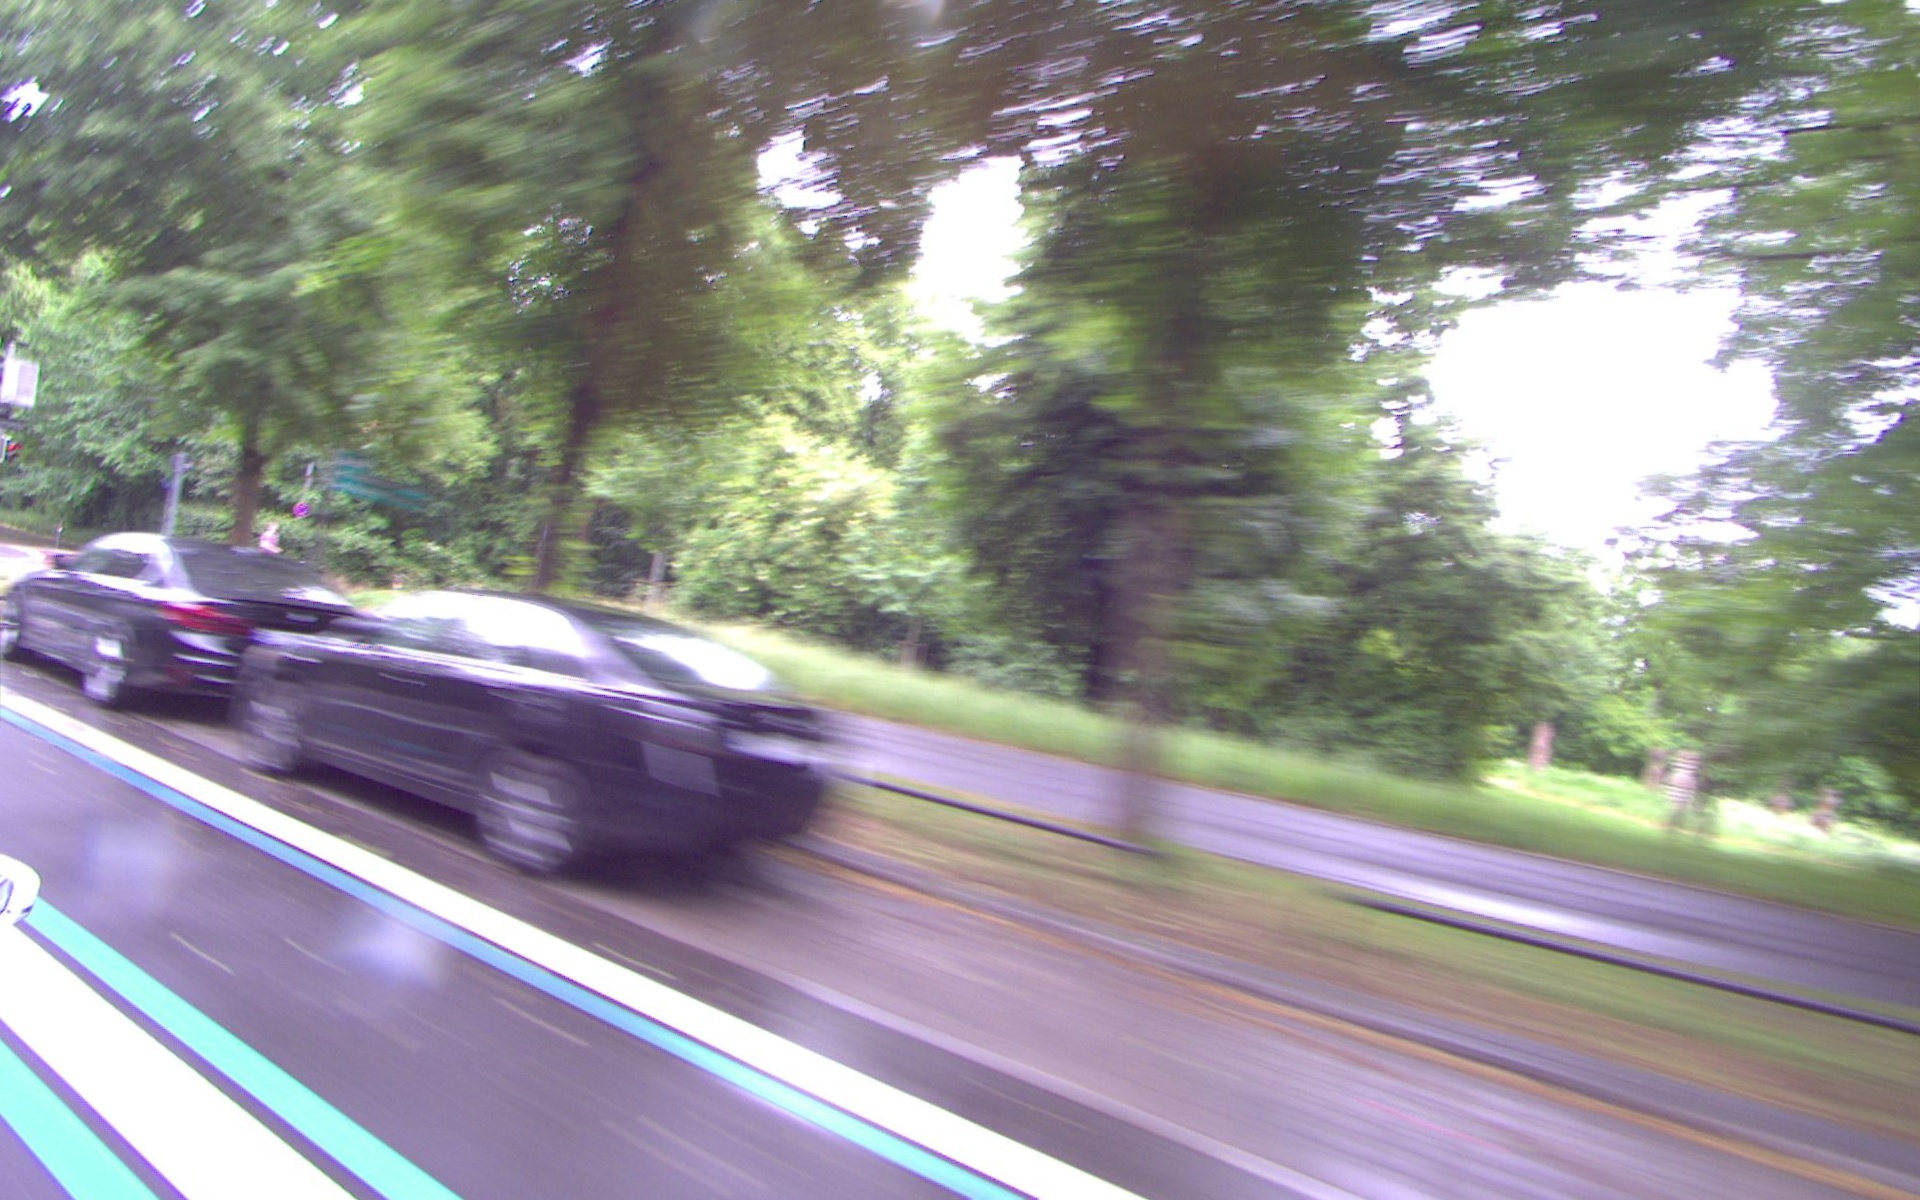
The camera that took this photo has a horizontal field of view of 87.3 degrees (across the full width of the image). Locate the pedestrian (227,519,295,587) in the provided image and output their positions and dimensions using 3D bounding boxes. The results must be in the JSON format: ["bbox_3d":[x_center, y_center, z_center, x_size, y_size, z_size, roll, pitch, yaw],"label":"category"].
[{"bbox_3d":[-20.169,-1.338,29.054,1.127,1.752,0.888,9,-2,-11],"label":"pedestrian"}]

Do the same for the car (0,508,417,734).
[{"bbox_3d":[-7.404,0.125,9.550,4.779,1.455,1.762,6,-4,33],"label":"car"}]

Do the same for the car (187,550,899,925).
[{"bbox_3d":[-2.896,0.700,6.642,4.683,1.435,1.705,6,-4,30],"label":"car"}]
